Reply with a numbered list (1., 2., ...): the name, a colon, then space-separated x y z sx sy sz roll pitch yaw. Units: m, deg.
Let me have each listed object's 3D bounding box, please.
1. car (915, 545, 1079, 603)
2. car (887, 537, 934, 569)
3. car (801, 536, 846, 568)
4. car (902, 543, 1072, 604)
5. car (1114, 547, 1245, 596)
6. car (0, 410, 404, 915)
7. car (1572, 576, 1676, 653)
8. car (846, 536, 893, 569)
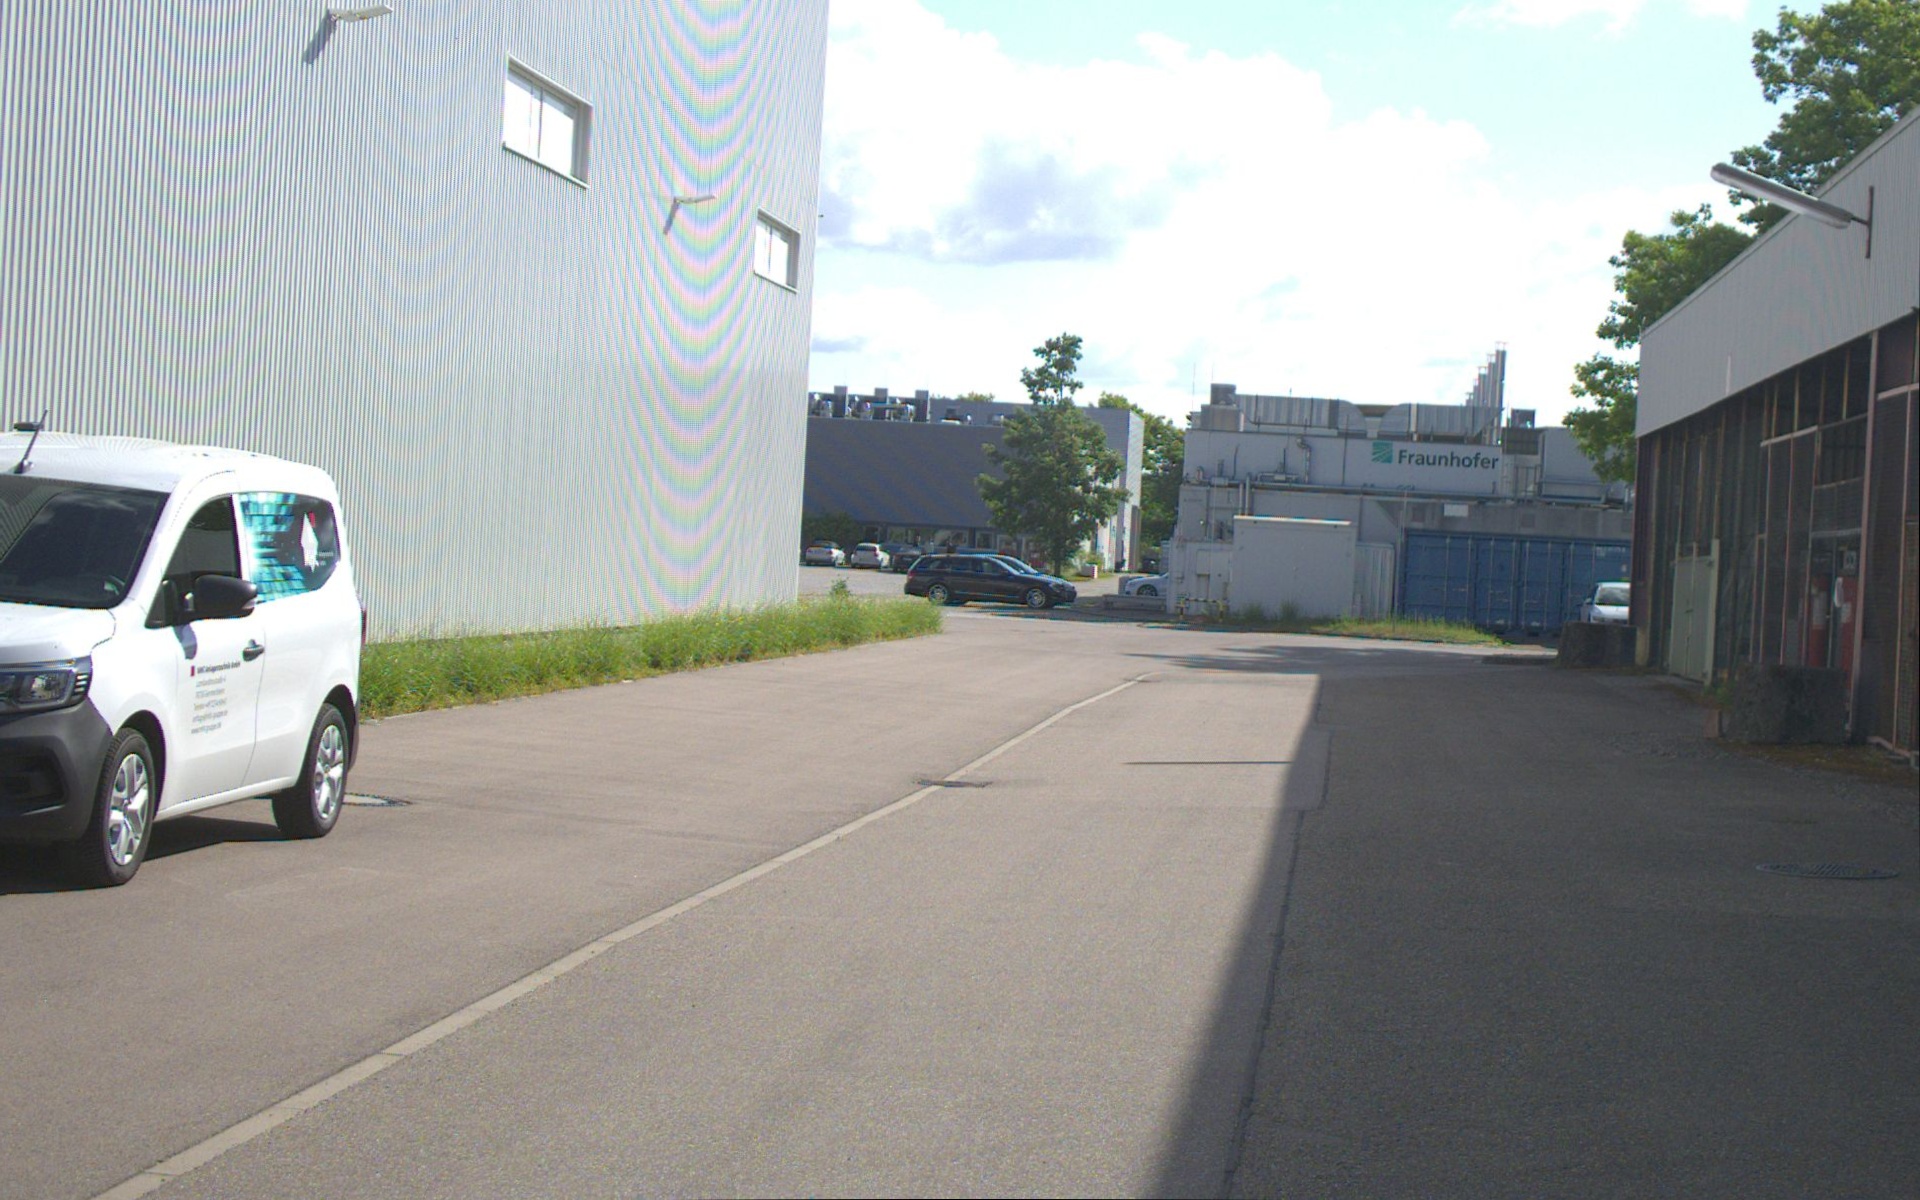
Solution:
1. car: 1.100 -0.760 100.318 4.527 1.503 1.908 2 1 8
2. car: -2.780 -2.649 193.543 2.194 1.730 3.999 1 0 6
3. car: -7.741 -2.726 195.495 1.994 1.730 3.999 1 0 6
4. car: 0.779 -0.751 97.097 4.527 1.503 1.908 2 1 8
5. car: 7.932 -1.034 124.042 4.527 1.503 1.908 3 1 8
6. car: -3.985 0.140 14.940 1.891 1.839 4.357 5 1 6
7. car: 15.899 0.319 82.507 1.994 1.580 4.172 3 2 6
8. car: -5.133 -2.690 195.538 2.194 1.730 3.999 1 0 6
